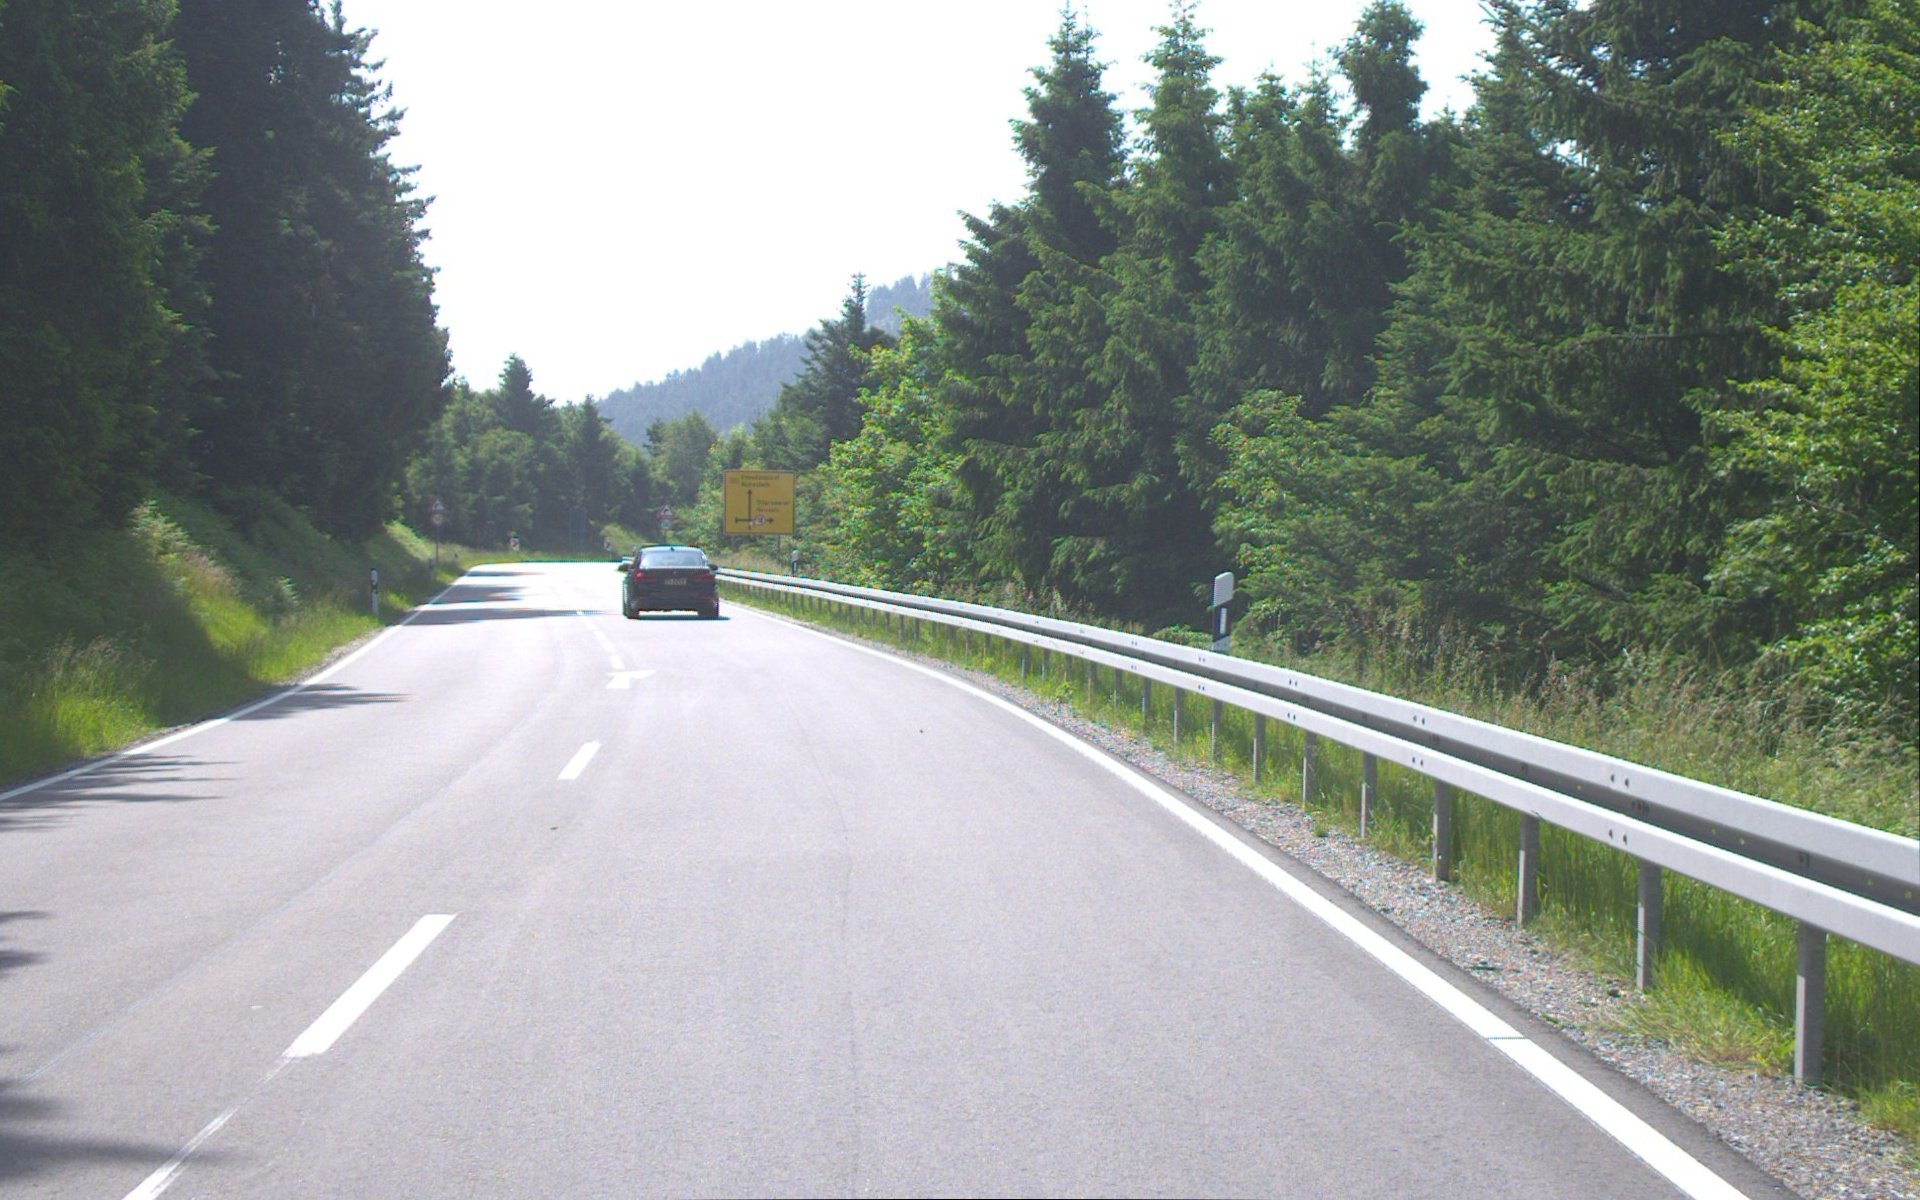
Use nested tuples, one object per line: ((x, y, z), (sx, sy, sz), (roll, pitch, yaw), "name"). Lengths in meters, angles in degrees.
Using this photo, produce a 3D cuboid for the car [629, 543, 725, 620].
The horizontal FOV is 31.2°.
((-5.657, -0.380, 68.400), (1.775, 1.437, 3.710), (-1, 1, -6), "car")
